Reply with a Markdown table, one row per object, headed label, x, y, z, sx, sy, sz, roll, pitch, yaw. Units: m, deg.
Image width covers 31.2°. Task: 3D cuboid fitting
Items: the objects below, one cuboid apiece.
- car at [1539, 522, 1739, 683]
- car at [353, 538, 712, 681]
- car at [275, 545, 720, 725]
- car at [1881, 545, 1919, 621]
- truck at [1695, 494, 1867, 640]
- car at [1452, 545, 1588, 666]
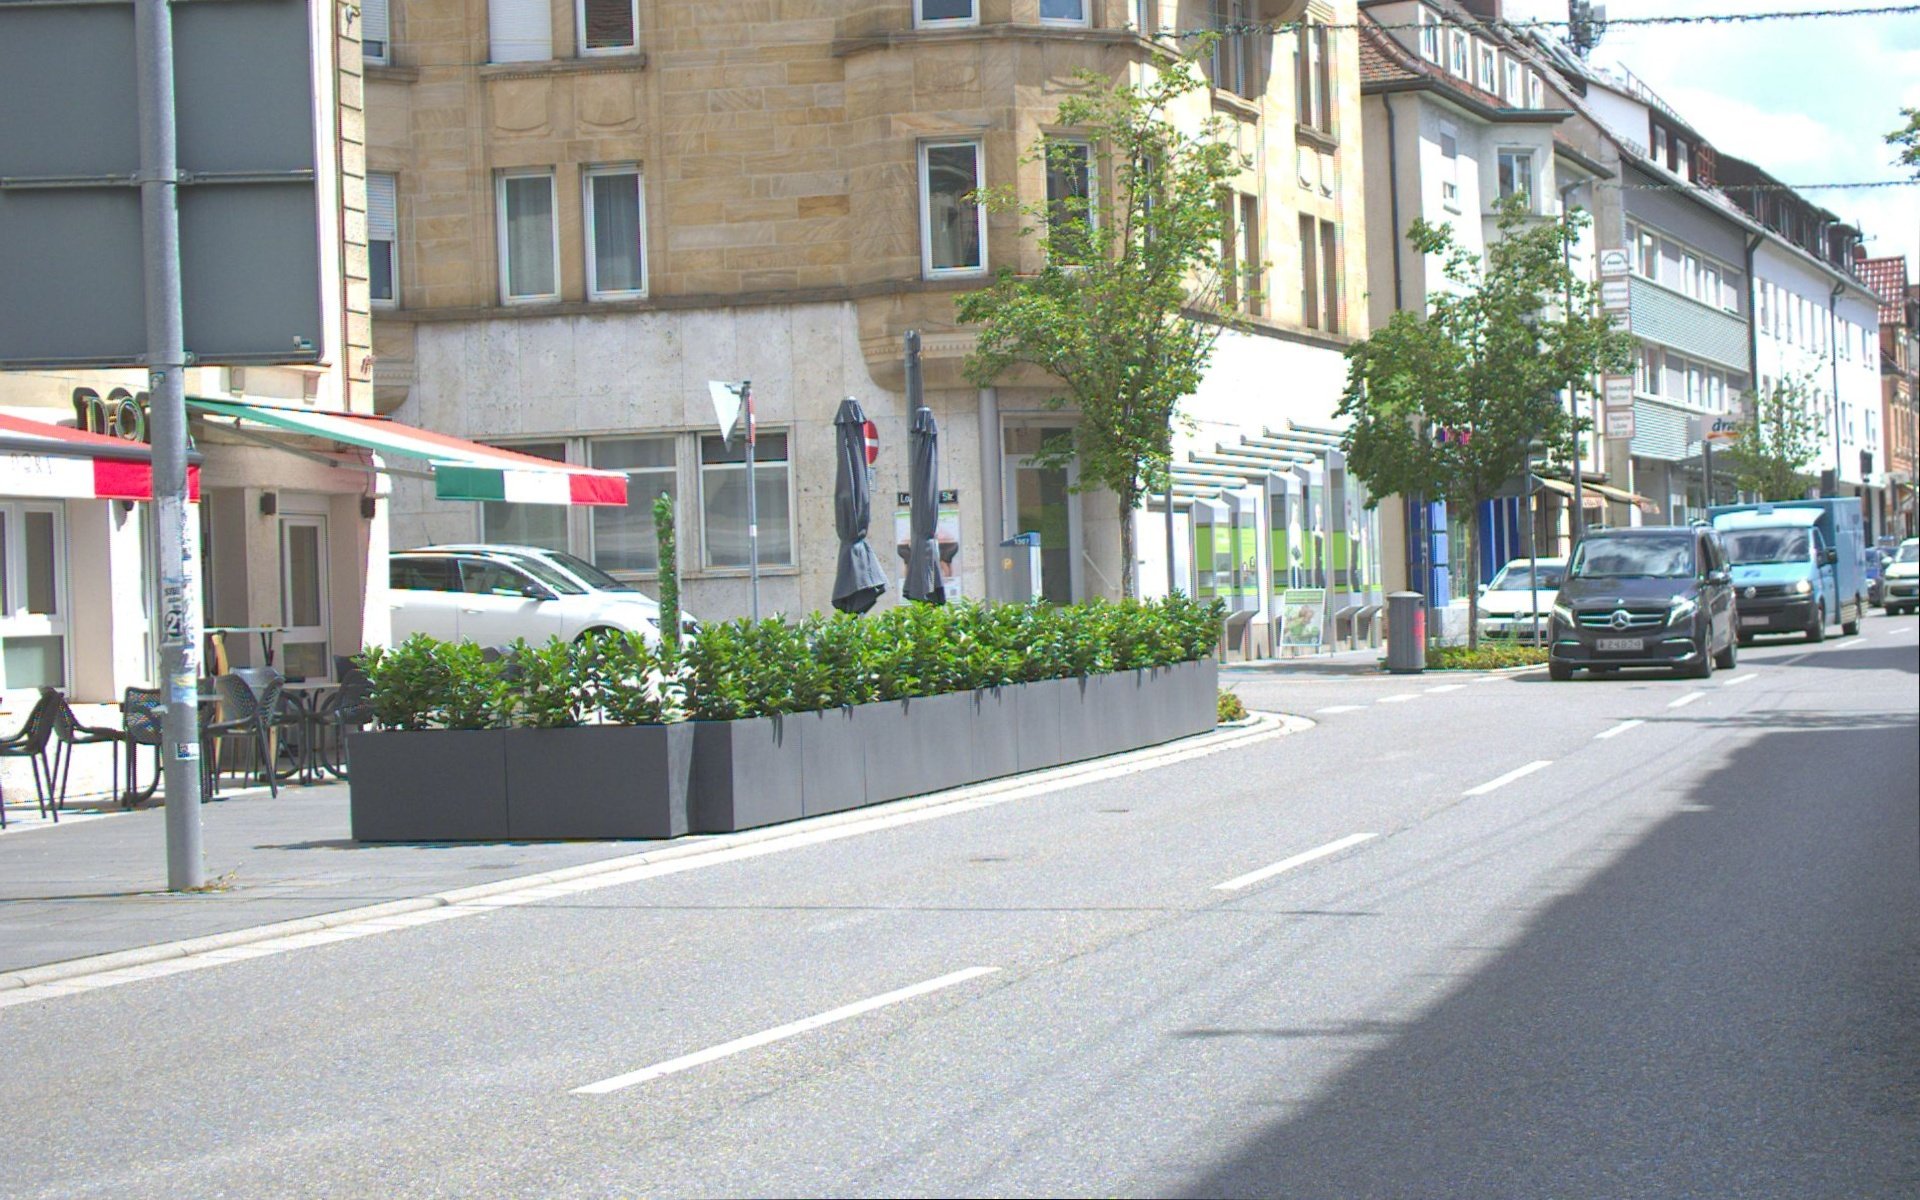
| label | x | y | z | sx | sy | sz | roll | pitch | yaw |
| --- | --- | --- | --- | --- | --- | --- | --- | --- | --- |
| car | 8.486 | -0.007 | 42.689 | 1.836 | 1.829 | 4.566 | -2 | 0 | 18 |
| car | -5.292 | 0.116 | 42.771 | 3.989 | 1.656 | 1.908 | -1 | 0 | 13 |
| car | -4.902 | 0.359 | 36.874 | 4.418 | 1.769 | 2.000 | -1 | 0 | 2 |
| car | 20.671 | -0.382 | 73.613 | 1.698 | 1.579 | 3.954 | -1 | 0 | 17 |
| truck | 13.142 | -0.553 | 54.790 | 2.068 | 2.158 | 5.289 | -2 | 1 | 19 |
| car | 8.570 | 0.054 | 52.399 | 1.711 | 1.706 | 3.998 | -1 | 1 | 14 |
